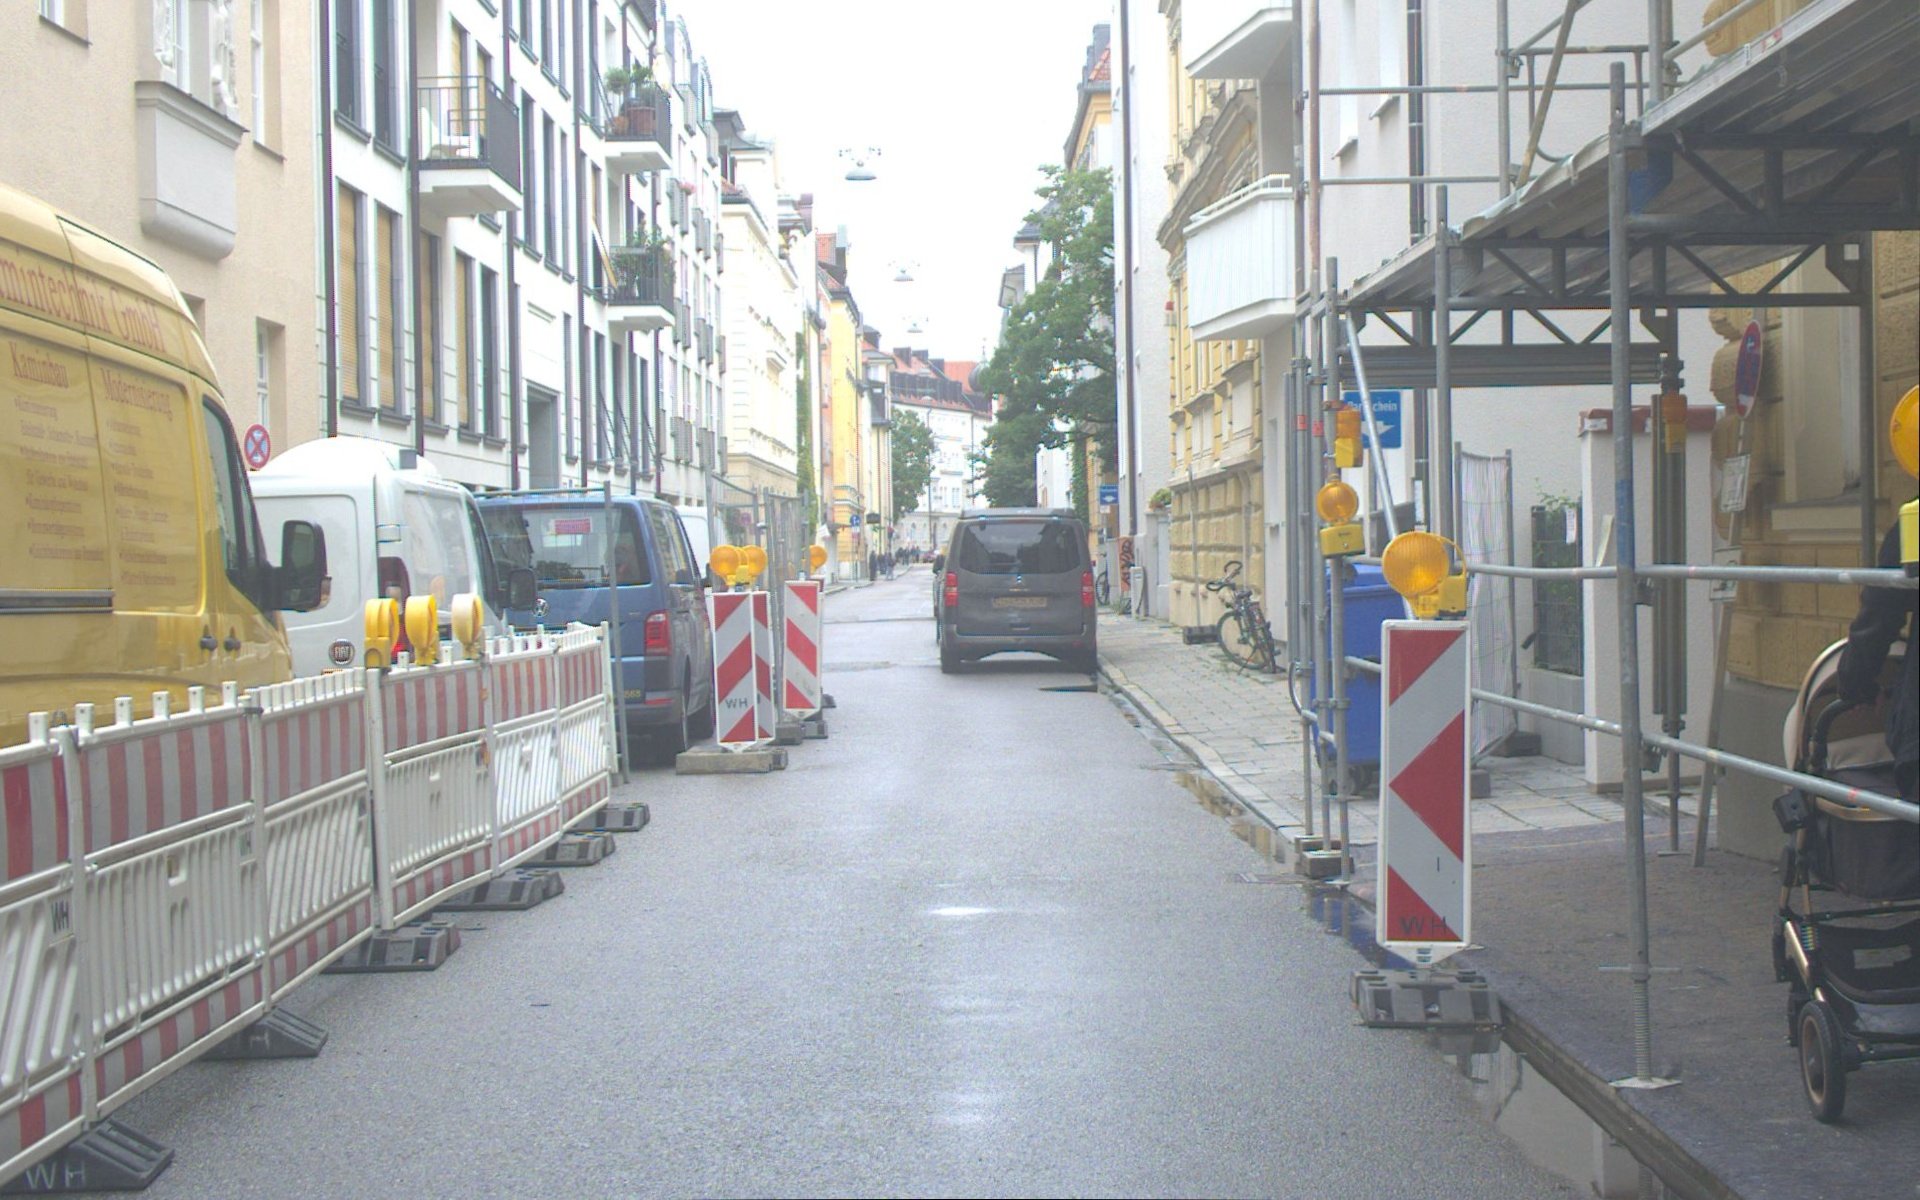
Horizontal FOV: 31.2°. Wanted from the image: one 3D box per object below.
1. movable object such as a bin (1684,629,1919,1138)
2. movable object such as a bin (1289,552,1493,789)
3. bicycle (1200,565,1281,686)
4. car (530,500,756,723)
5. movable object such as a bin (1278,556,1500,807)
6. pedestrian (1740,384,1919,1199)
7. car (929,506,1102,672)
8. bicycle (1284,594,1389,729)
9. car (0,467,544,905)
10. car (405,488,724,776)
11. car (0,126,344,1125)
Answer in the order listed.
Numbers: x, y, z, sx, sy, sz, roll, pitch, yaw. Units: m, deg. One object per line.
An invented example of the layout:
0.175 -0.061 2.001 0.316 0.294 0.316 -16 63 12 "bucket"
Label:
2.347 0.674 8.662 0.729 1.137 0.988 -5 1 -1 "movable object such as a bin"
2.686 0.423 21.368 1.126 1.341 1.171 -4 1 8 "movable object such as a bin"
2.898 0.246 35.643 0.638 1.149 1.915 -4 2 1 "bicycle"
-2.884 0.073 32.200 1.904 1.891 5.090 -1 1 -3 "car"
2.528 0.460 20.131 1.087 1.341 1.317 -4 1 13 "movable object such as a bin"
2.334 0.384 7.876 0.729 1.746 0.988 -5 1 -1 "pedestrian"
0.630 -0.164 42.549 1.993 1.925 4.660 0 1 -1 "car"
2.909 0.465 26.644 0.404 0.988 1.329 -4 1 -9 "bicycle"
-3.402 0.359 17.893 1.917 1.891 4.791 -3 1 -1 "car"
-2.887 0.185 26.195 1.727 1.891 5.509 -3 1 0 "car"
-3.491 0.048 10.565 1.993 2.570 6.737 -1 1 -1 "car"
